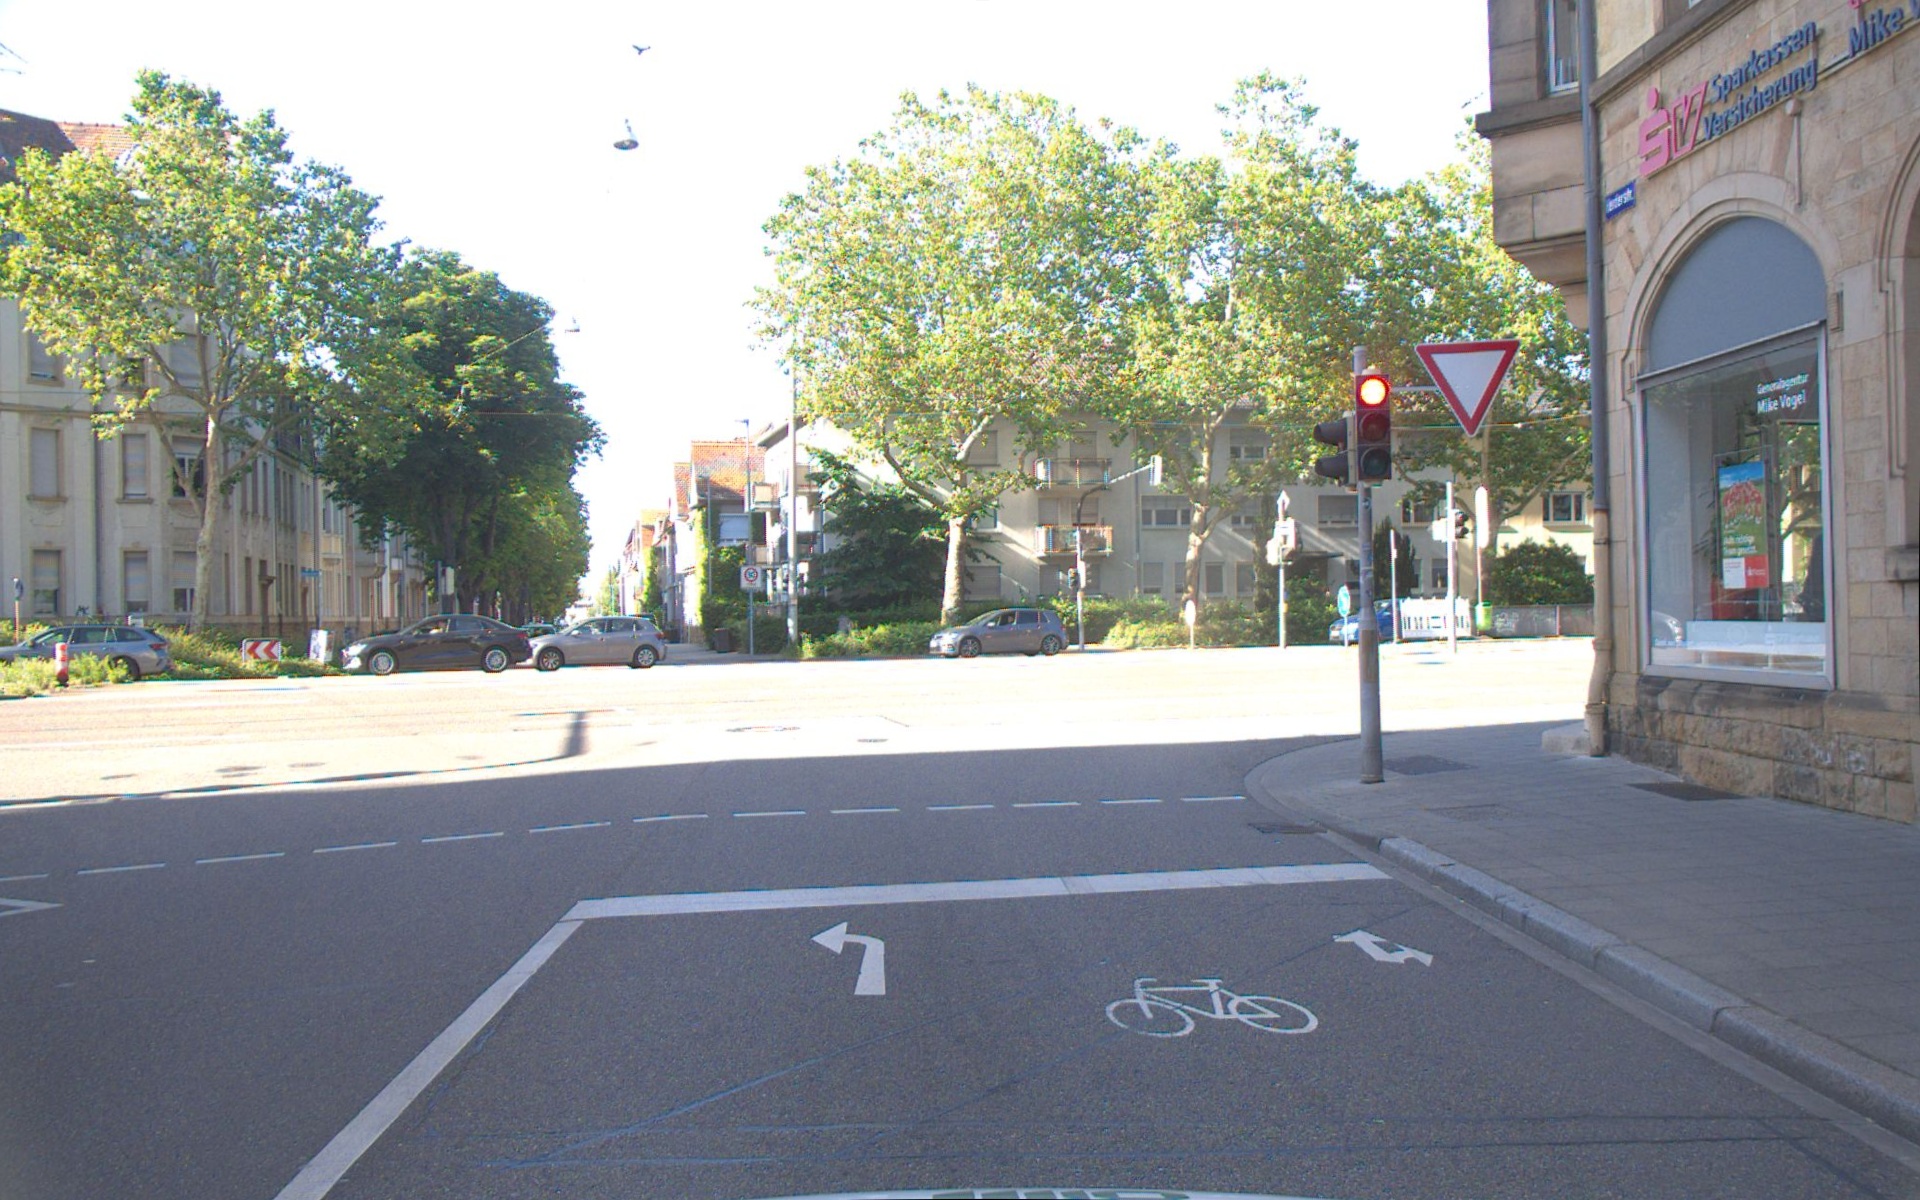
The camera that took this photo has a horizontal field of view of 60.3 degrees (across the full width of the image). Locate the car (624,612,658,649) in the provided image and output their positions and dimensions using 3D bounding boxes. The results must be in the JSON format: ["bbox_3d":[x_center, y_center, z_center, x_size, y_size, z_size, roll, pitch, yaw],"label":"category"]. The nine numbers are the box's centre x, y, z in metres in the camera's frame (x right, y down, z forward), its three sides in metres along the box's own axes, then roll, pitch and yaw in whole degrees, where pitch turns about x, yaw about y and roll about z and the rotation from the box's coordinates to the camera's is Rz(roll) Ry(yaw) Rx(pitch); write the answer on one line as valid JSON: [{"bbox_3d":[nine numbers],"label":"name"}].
[{"bbox_3d":[-18.249,1.724,94.576,1.742,1.952,3.523,-3,0,-12],"label":"car"}]

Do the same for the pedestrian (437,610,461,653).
[{"bbox_3d":[-17.622,1.101,57.036,0.696,1.467,0.485,1,-1,-31],"label":"pedestrian"}]

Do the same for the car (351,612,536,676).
[{"bbox_3d":[-12.575,1.038,40.268,4.207,1.425,1.635,-1,0,-22],"label":"car"}]

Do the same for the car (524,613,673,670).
[{"bbox_3d":[-9.817,1.090,44.903,3.728,1.425,1.635,-1,0,-22],"label":"car"}]

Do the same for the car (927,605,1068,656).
[{"bbox_3d":[1.105,0.886,49.156,3.884,1.425,1.635,-1,0,-22],"label":"car"}]

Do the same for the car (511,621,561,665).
[{"bbox_3d":[-16.288,1.636,63.637,1.669,1.509,3.523,-3,1,-12],"label":"car"}]

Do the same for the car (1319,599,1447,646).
[{"bbox_3d":[13.670,0.716,53.491,3.719,1.425,1.639,-1,0,-16],"label":"car"}]

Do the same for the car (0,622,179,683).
[{"bbox_3d":[-21.410,1.251,40.080,4.323,1.339,1.636,-1,0,-21],"label":"car"}]
